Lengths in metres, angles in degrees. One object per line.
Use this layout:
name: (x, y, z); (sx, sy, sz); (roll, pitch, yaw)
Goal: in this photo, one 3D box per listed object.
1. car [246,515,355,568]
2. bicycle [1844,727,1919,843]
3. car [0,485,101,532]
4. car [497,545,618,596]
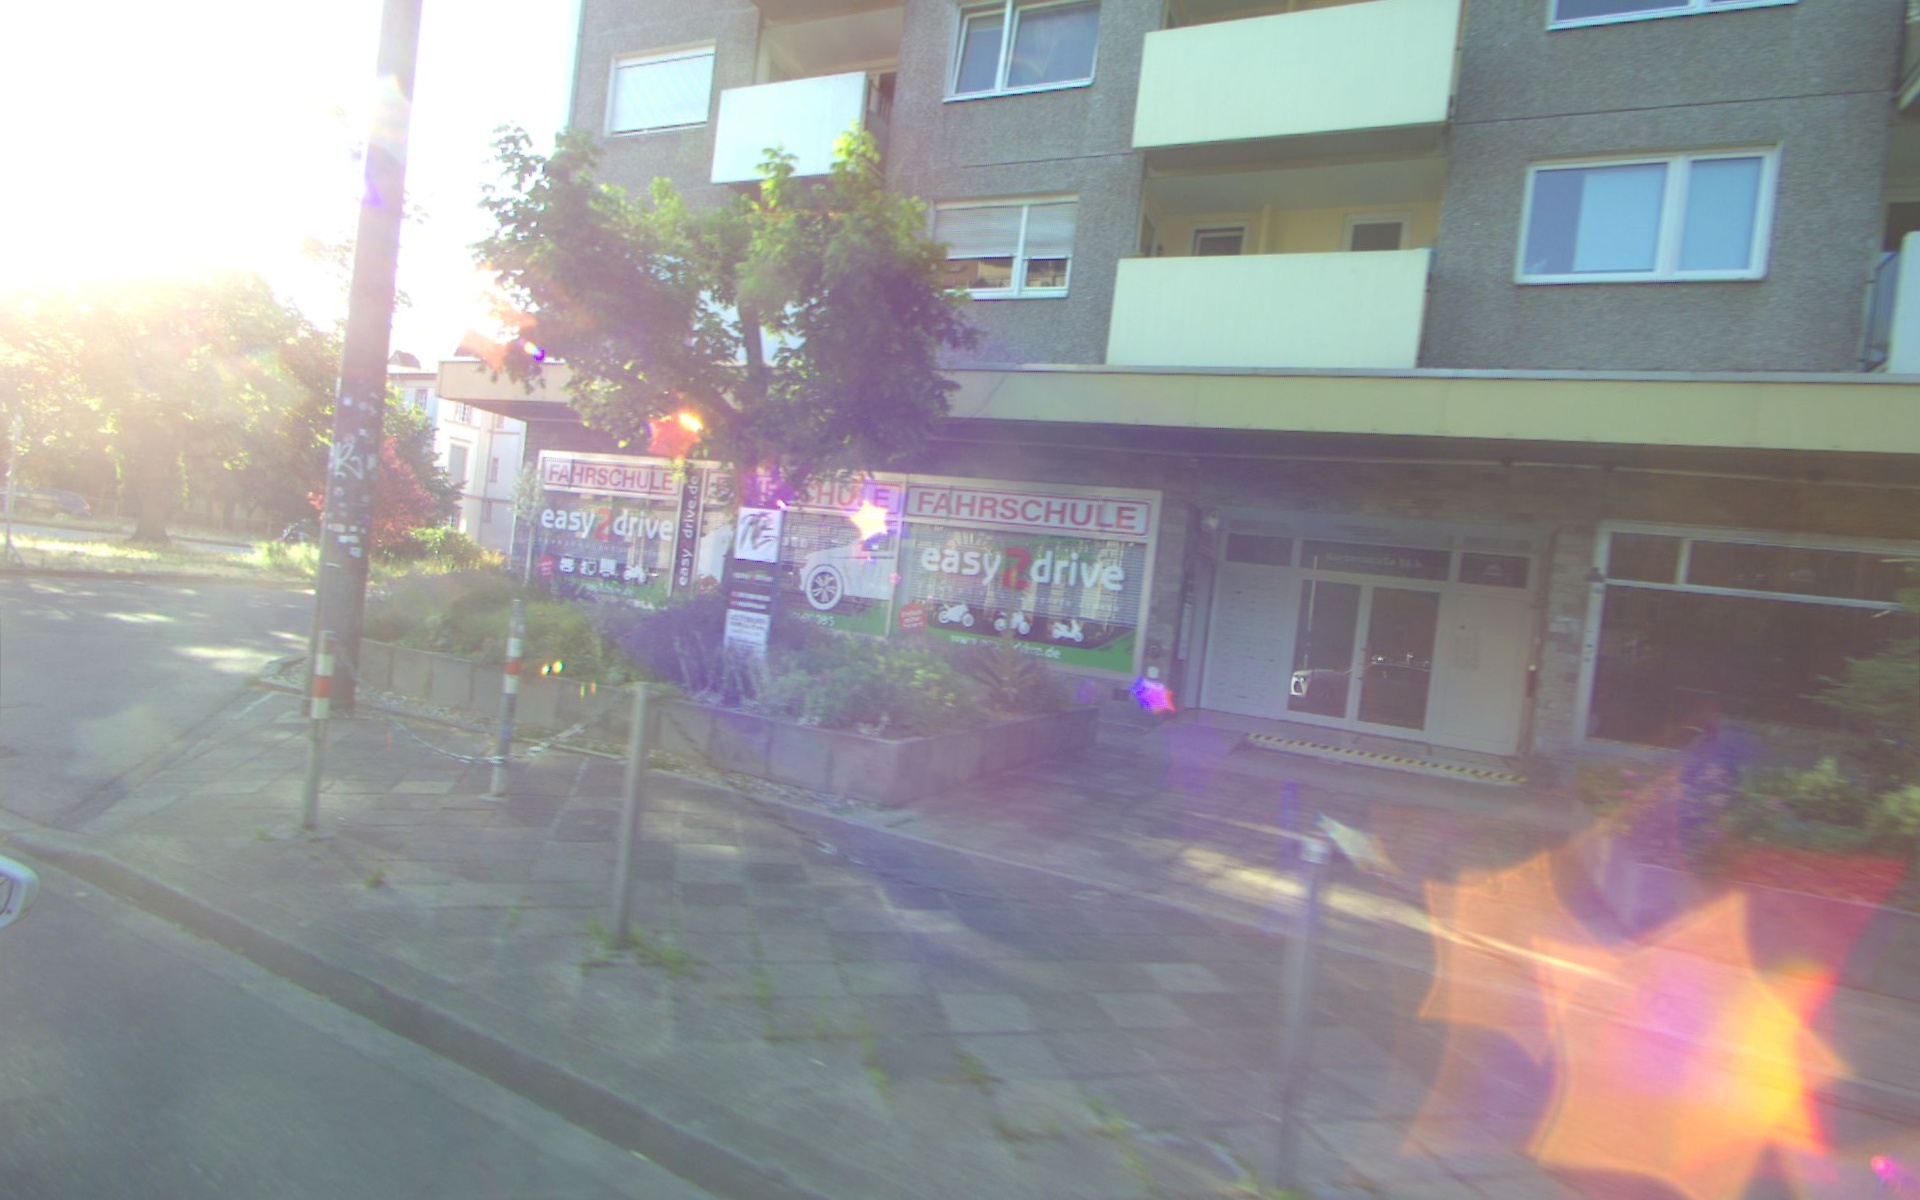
car: (-32.791, -2.880, 50.097); (1.905, 2.039, 3.985); (7, 0, 37)
bicycle: (8.971, 1.742, 9.098); (1.301, 0.954, 0.432); (7, 1, 24)
car: (-38.262, -3.829, 41.523); (1.663, 1.471, 3.982); (7, 0, 40)
car: (-15.363, -1.110, 38.571); (1.775, 1.437, 3.875); (7, 0, 35)
